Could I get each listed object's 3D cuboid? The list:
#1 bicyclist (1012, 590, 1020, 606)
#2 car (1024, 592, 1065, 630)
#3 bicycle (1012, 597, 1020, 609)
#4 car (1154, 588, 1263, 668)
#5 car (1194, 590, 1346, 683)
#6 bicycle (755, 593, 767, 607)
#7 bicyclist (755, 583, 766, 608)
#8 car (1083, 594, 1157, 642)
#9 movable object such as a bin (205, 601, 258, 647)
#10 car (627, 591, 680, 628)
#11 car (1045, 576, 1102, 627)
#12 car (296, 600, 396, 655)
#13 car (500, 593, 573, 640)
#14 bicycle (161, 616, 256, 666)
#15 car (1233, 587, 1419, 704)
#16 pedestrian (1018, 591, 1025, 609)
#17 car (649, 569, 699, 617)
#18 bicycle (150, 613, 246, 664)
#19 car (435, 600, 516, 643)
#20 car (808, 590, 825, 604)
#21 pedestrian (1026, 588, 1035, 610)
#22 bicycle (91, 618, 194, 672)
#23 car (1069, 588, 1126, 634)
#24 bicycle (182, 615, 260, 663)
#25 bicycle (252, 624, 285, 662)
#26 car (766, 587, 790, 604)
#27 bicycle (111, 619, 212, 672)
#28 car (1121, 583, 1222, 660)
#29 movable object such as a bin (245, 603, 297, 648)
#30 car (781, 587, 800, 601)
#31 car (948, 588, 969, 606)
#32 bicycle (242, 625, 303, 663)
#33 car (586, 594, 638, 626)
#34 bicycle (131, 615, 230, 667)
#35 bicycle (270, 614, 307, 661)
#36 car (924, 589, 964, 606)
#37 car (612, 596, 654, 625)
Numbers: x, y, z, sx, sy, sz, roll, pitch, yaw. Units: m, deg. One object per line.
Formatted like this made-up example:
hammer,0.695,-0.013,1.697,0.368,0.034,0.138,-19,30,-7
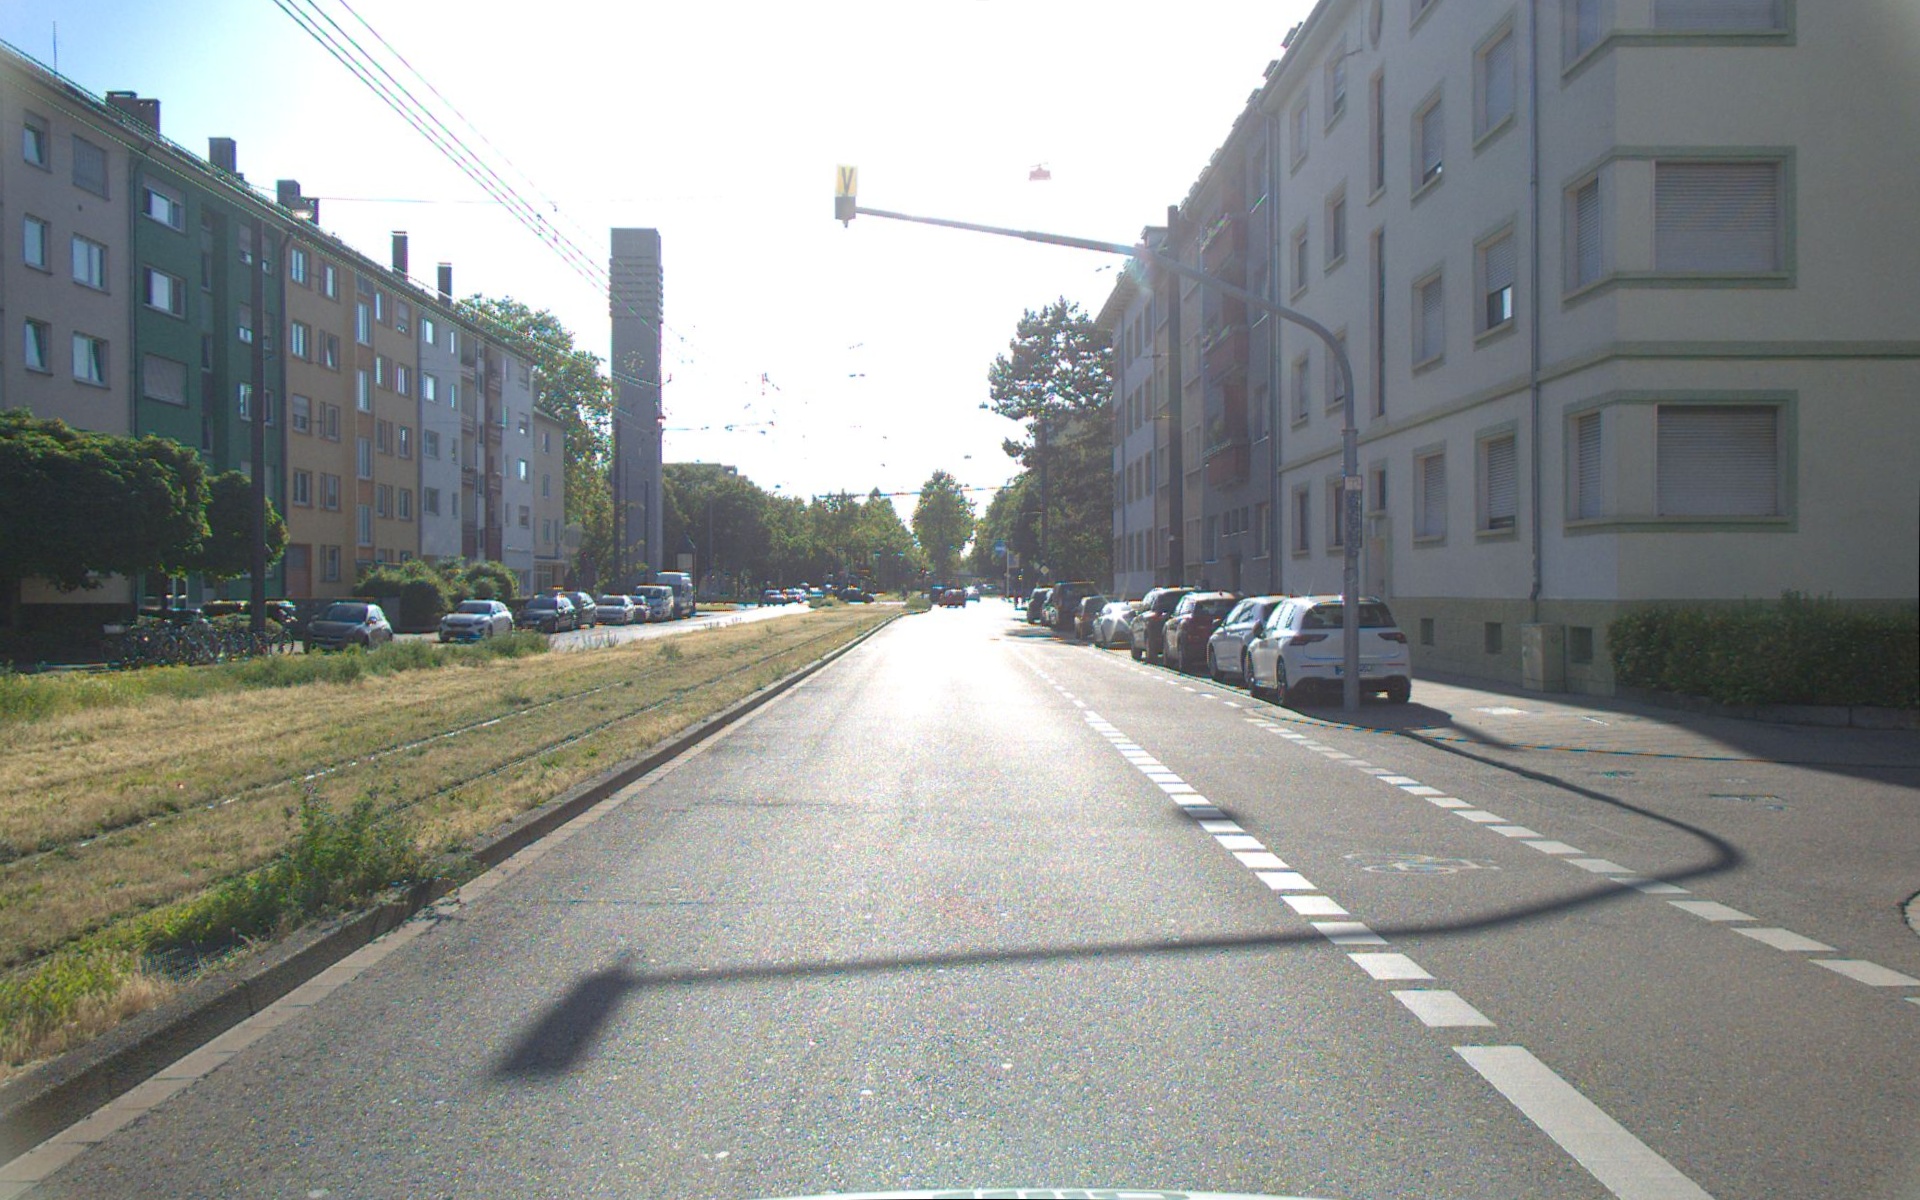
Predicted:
bicyclist,4.693,-0.148,137.764,0.624,1.346,0.803,2,0,2
car,4.295,0.537,84.704,1.840,1.746,4.934,-3,0,0
bicycle,4.677,0.218,137.778,0.634,0.989,1.804,2,0,2
car,5.113,0.533,34.453,1.602,1.544,4.188,-1,0,0
car,5.335,0.577,28.923,1.603,1.484,4.078,-1,0,-4
bicycle,-17.063,0.005,141.835,0.752,1.166,2.474,-2,0,0
bicyclist,-17.042,-0.374,141.294,0.757,2.049,0.648,2,0,-1
car,4.832,0.519,50.337,1.668,1.297,4.302,-4,0,-1
movable object such as a bin,-23.099,0.753,52.452,1.123,1.392,1.039,2,0,2
car,-17.987,0.514,97.391,1.990,2.056,5.370,2,0,0
car,4.741,0.046,69.614,1.874,1.932,5.134,-3,0,-1
car,-17.651,0.767,47.684,1.603,1.467,3.732,2,0,-3
car,-18.168,0.667,71.195,1.953,1.870,4.609,2,0,-1
bicycle,-18.133,0.981,39.912,2.005,1.111,0.616,2,0,5
car,5.117,0.579,23.678,1.659,1.484,4.379,-1,0,0
pedestrian,5.336,0.032,143.511,0.518,1.555,0.628,-2,0,5
car,-18.060,-0.473,104.843,1.990,2.919,6.228,1,0,0
bicycle,-18.066,0.902,39.222,2.005,1.111,0.616,2,0,5
car,-17.733,0.776,60.771,1.693,1.480,4.375,1,0,0
car,-16.380,-0.396,189.056,1.653,1.560,4.360,0,0,0
pedestrian,6.115,-0.085,143.371,0.688,1.821,0.694,-3,1,5
bicycle,-18.296,1.004,37.022,2.005,1.111,0.616,2,0,5
car,4.815,0.373,58.232,1.602,1.479,3.789,-3,0,0
bicycle,-18.444,0.963,41.277,2.008,1.111,0.615,2,0,27
bicycle,-17.593,1.074,42.122,0.369,0.881,2.048,2,0,-12
car,-16.882,-0.400,153.724,1.659,1.473,4.217,-2,0,0
bicycle,-18.226,1.037,37.774,2.005,1.111,0.616,2,0,5
car,5.001,0.475,39.636,1.603,1.676,4.371,-3,0,-3
movable object such as a bin,-21.831,0.803,52.411,1.123,1.392,1.039,2,0,2
car,-19.333,-0.669,188.695,1.770,1.560,4.360,0,0,0
car,-0.147,-0.258,140.812,1.660,1.534,3.697,2,0,-3
bicycle,-17.380,1.115,41.812,1.549,0.884,0.417,2,0,22
car,-18.066,0.505,86.022,1.854,1.517,4.701,2,0,-3
bicycle,-18.126,0.939,38.490,2.005,1.111,0.616,2,0,5
bicycle,-17.137,0.945,42.267,0.500,1.111,1.930,2,0,-12
car,-1.658,-0.220,174.213,1.863,1.639,4.481,2,0,37
car,-18.083,0.587,91.550,1.661,1.541,4.324,1,0,-3
